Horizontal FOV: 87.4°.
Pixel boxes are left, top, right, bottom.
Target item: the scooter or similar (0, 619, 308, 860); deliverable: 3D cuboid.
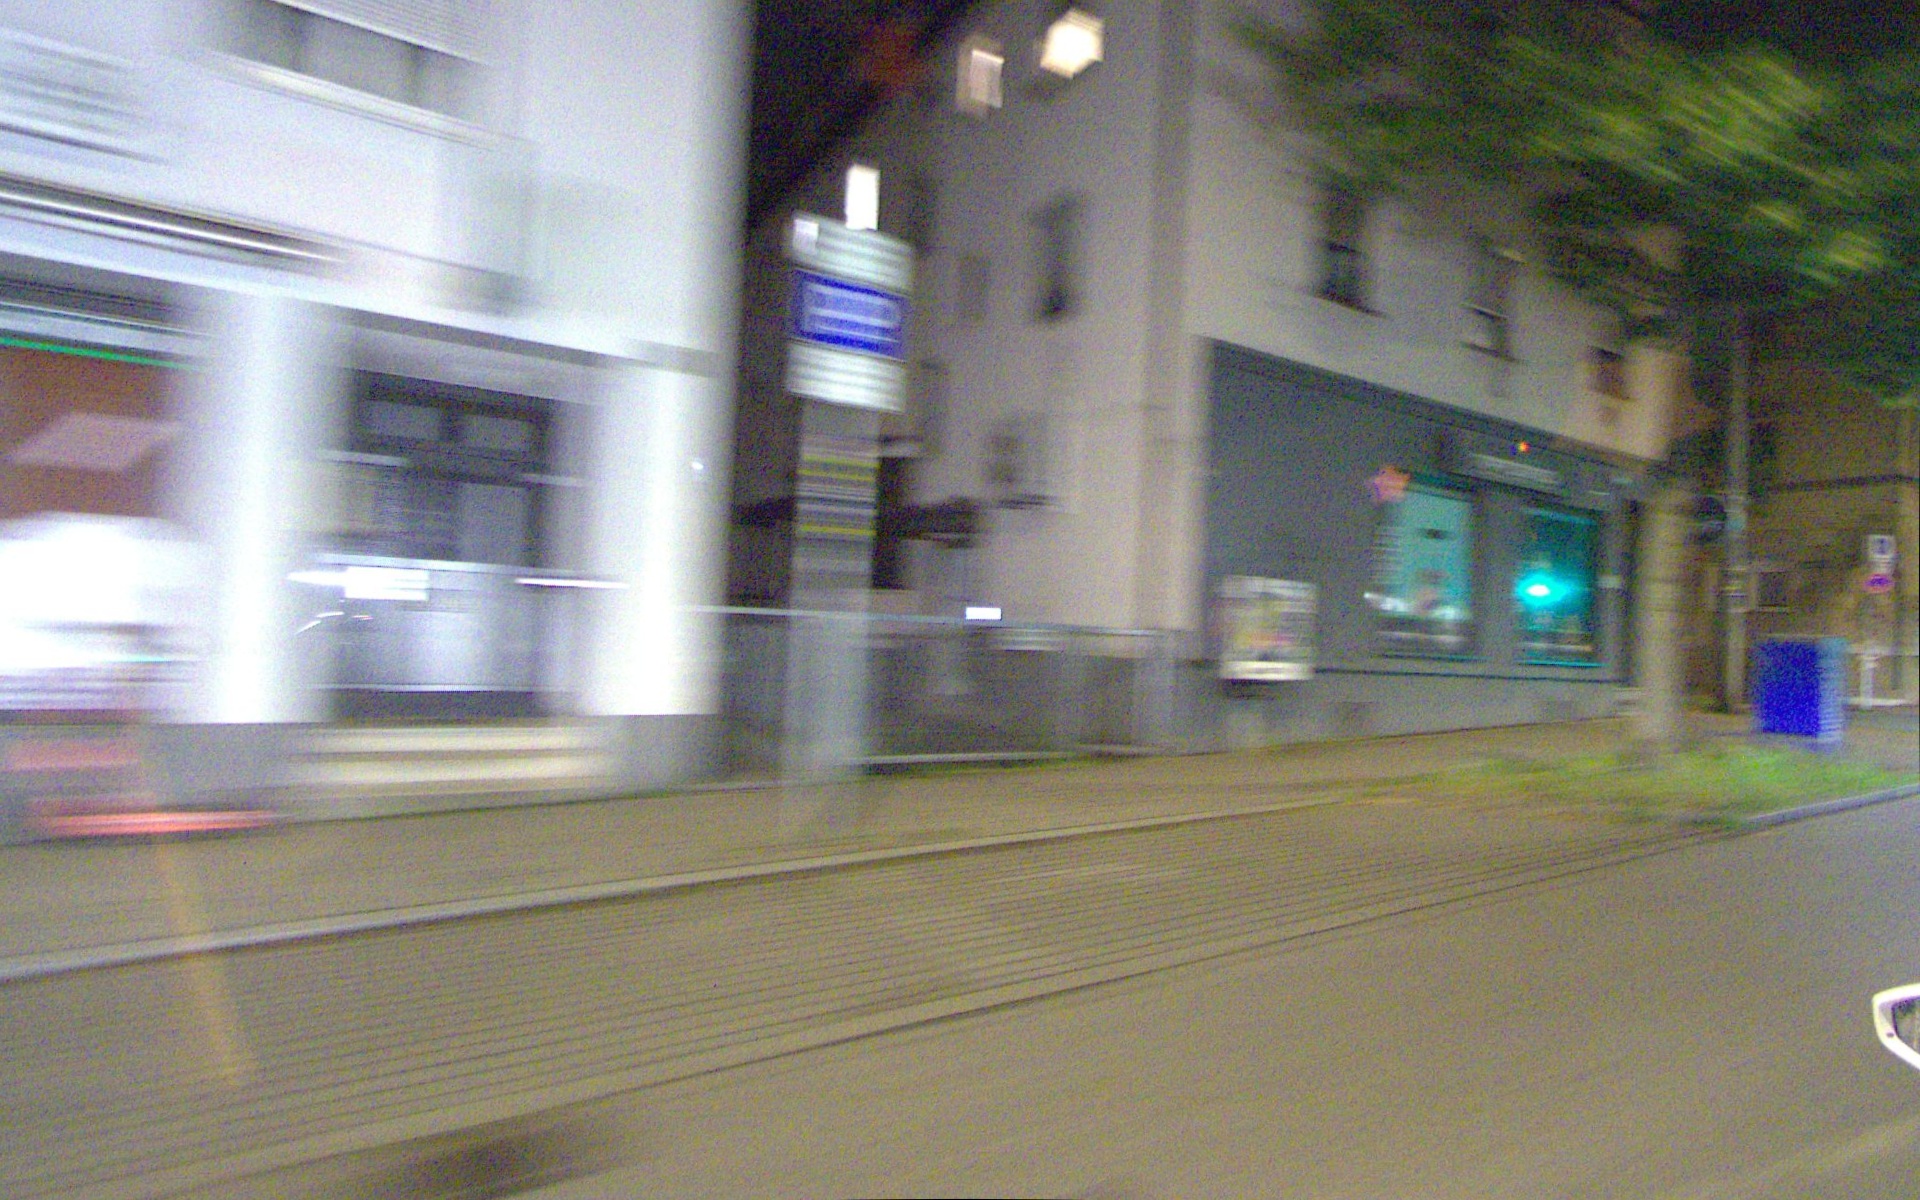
[{"bbox_3d":[-4.504,0.747,5.679,1.319,1.242,0.330,2,0,-30],"label":"scooter or similar"}]
